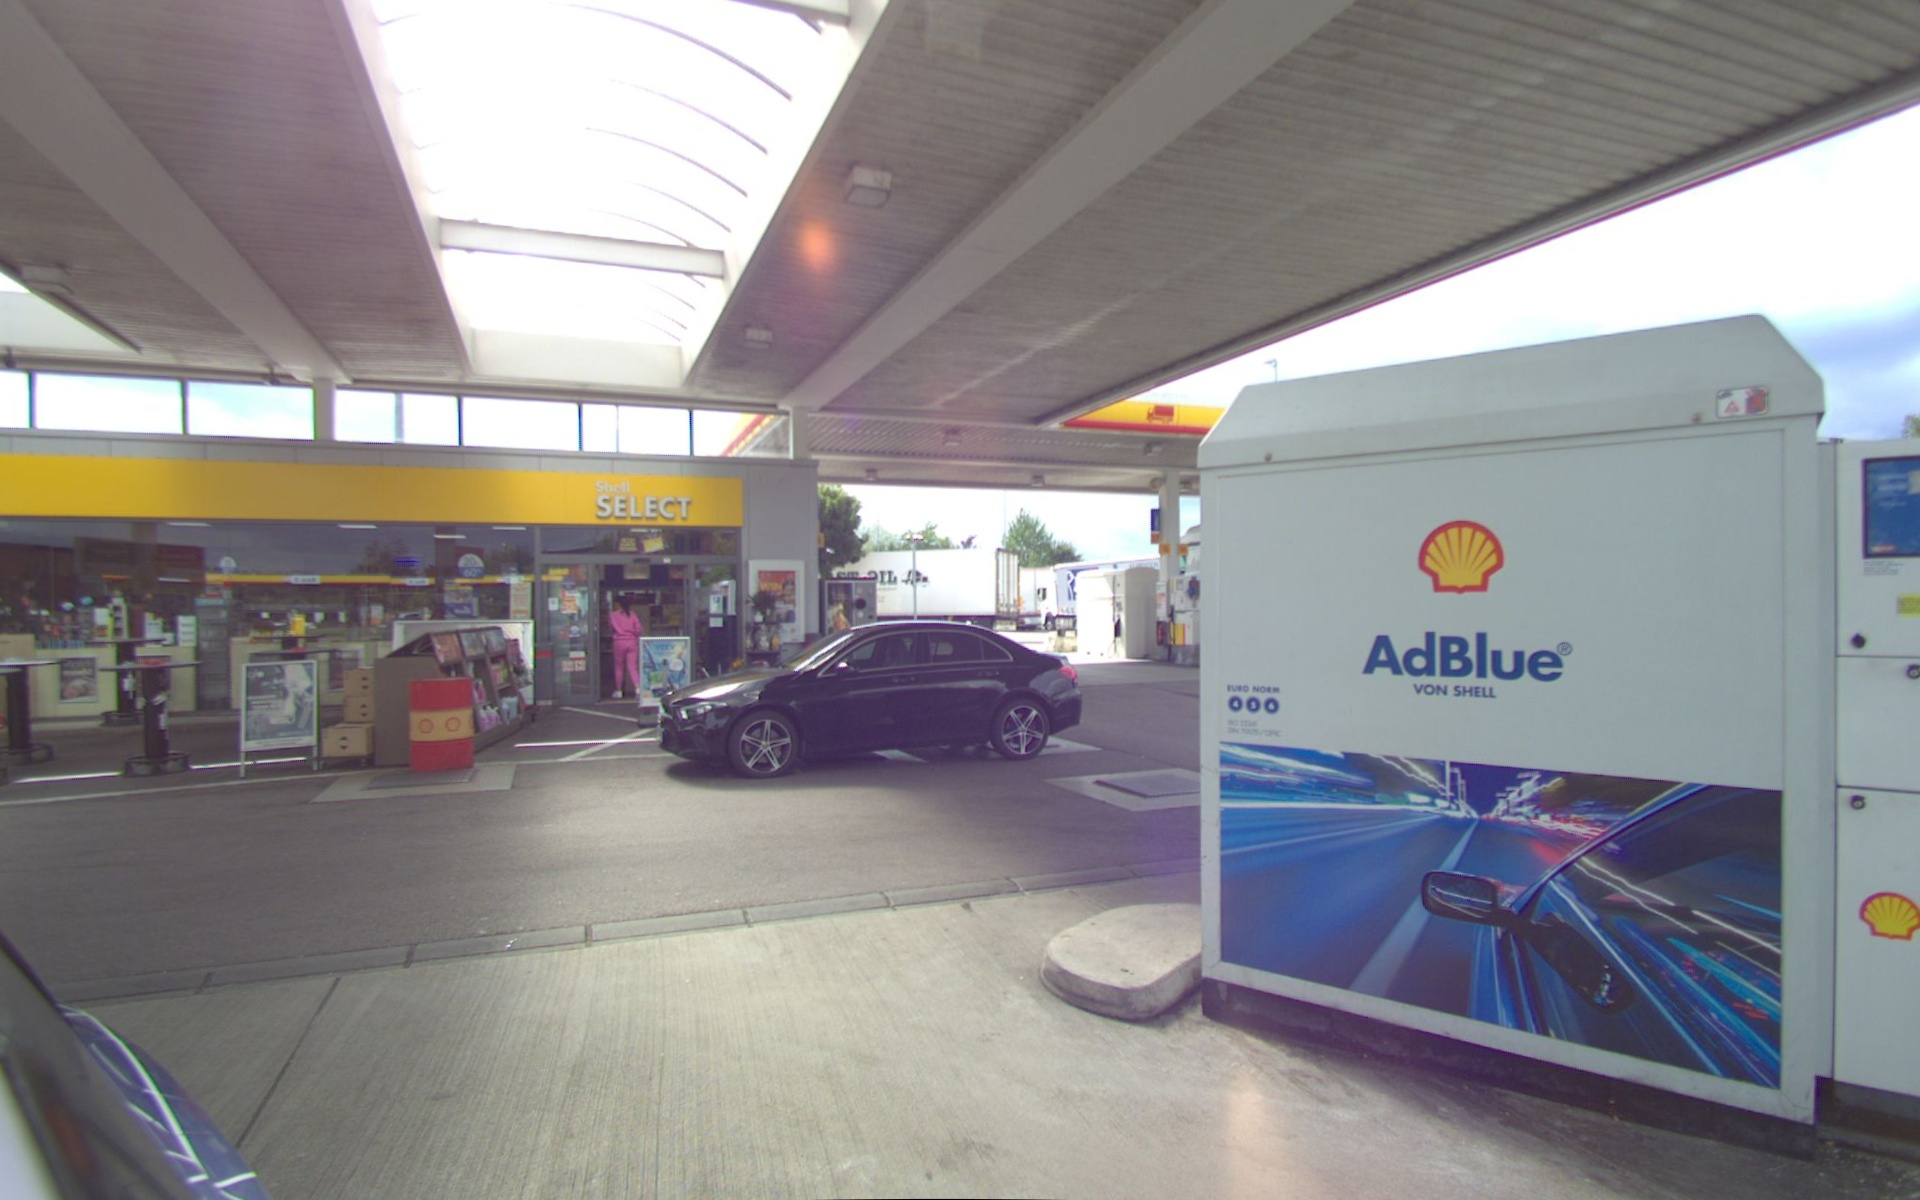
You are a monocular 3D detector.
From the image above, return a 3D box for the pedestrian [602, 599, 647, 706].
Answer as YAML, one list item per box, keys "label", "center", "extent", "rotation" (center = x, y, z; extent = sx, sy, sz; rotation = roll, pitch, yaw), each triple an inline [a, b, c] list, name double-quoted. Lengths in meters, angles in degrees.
- label: "pedestrian"
  center: [-5.572, 0.848, 16.811]
  extent: [0.616, 1.726, 0.625]
  rotation: [-1, 0, -25]

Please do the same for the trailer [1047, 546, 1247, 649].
- label: "trailer"
  center: [9.119, -0.093, 52.660]
  extent: [3.294, 4.600, 14.397]
  rotation: [-1, 0, -20]

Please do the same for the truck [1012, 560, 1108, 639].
- label: "truck"
  center: [5.942, -0.043, 61.208]
  extent: [3.333, 4.538, 6.249]
  rotation: [-1, 0, -20]

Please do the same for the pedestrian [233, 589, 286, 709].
- label: "pedestrian"
  center: [-11.464, 0.788, 16.565]
  extent: [0.508, 1.920, 0.574]
  rotation: [-1, 0, 38]

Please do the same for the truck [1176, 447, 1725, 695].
- label: "truck"
  center: [9.669, -0.458, 23.088]
  extent: [2.491, 4.069, 12.947]
  rotation: [-1, 0, -22]

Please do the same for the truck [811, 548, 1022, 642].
- label: "truck"
  center: [-2.089, -0.177, 46.827]
  extent: [9.536, 4.036, 2.772]
  rotation: [-1, 0, 25]

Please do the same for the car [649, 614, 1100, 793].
- label: "car"
  center: [-0.909, 0.945, 10.676]
  extent: [4.394, 1.511, 1.785]
  rotation: [-1, 0, -21]
